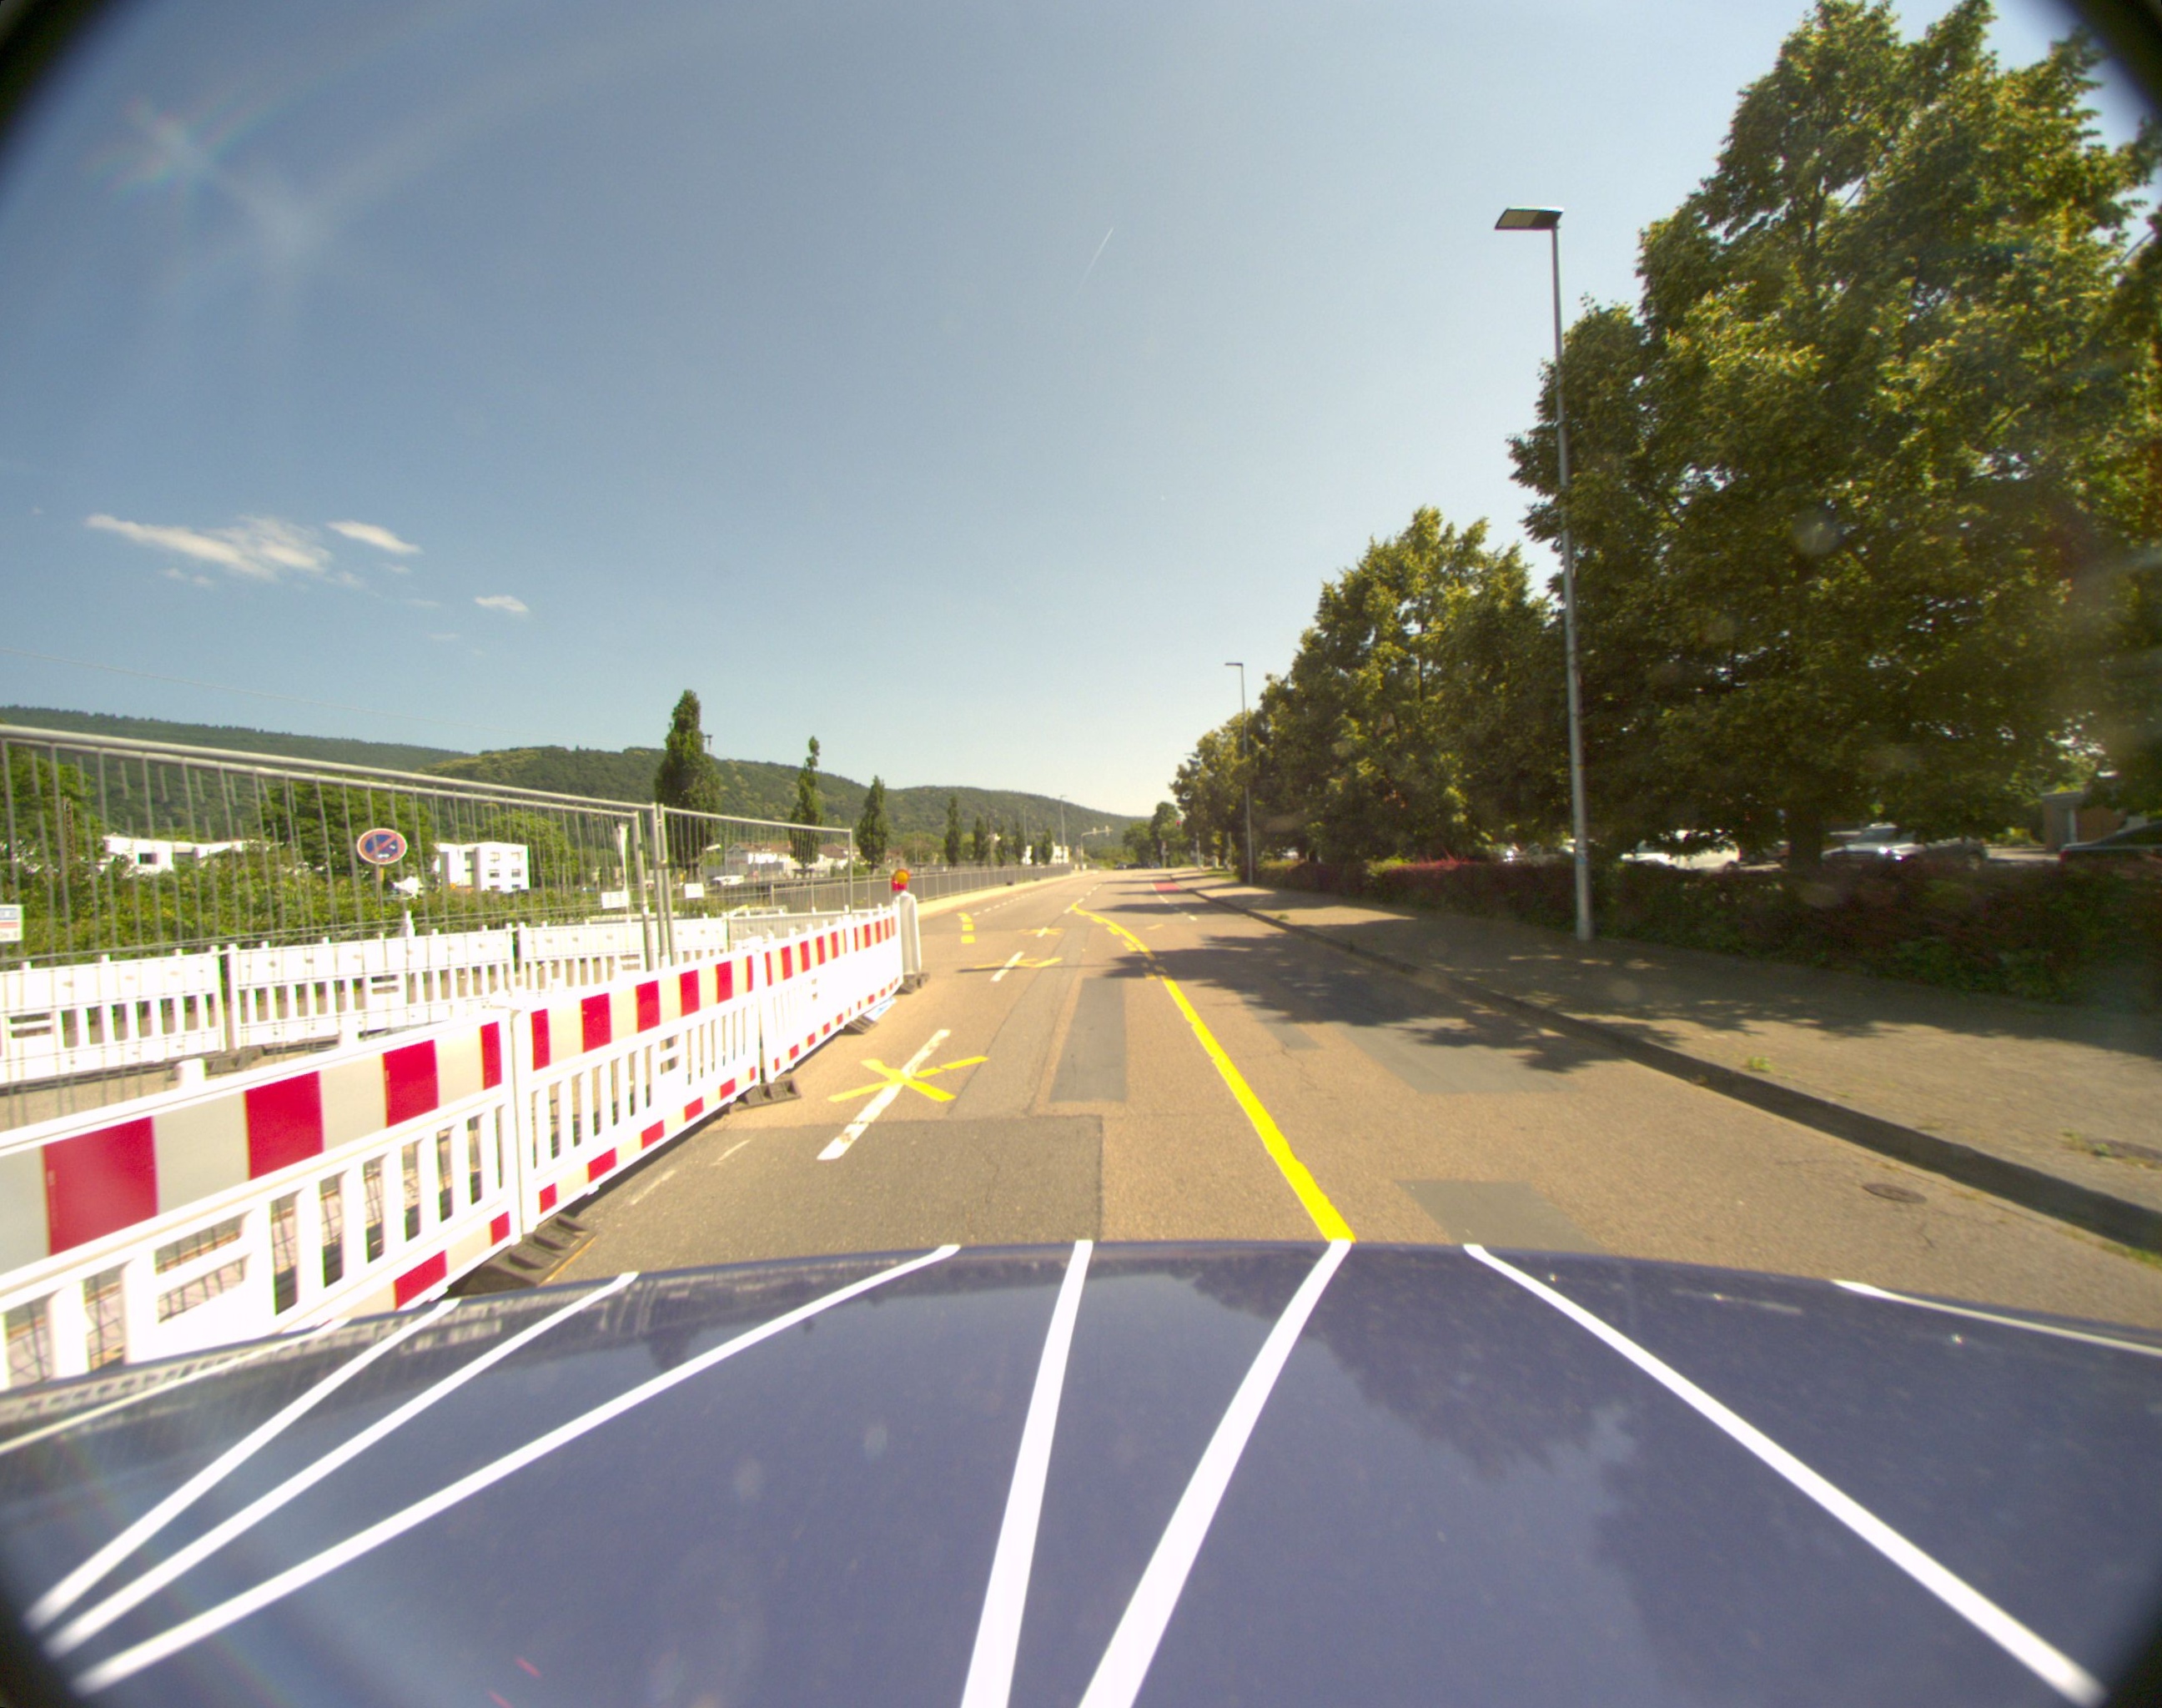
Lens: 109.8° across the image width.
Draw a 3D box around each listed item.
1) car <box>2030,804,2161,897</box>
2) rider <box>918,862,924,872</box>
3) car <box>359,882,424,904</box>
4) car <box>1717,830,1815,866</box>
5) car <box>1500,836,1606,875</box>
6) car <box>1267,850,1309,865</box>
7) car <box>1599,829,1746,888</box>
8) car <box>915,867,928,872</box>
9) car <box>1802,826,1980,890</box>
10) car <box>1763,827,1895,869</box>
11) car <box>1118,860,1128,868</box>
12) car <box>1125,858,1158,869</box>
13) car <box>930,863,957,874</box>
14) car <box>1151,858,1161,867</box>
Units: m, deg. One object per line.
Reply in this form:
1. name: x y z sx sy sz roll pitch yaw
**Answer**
1. car: 19.026 -0.093 11.922 2.072 1.551 5.031 -2 0 3
2. rider: -28.861 2.343 137.315 0.684 1.803 0.548 -2 3 31
3. car: -85.135 4.817 93.896 2.132 2.090 5.523 -7 0 14
4. car: 33.197 -0.290 36.835 3.613 1.523 1.620 -3 0 -10
5. car: 23.517 0.111 38.043 1.761 1.788 4.222 -3 0 -20
6. car: 25.648 0.445 94.214 4.569 1.643 1.834 -3 3 34
7. car: 20.582 0.146 26.465 4.356 1.816 1.747 -2 -1 -17
8. car: -28.826 2.786 137.320 2.377 0.897 0.576 -3 3 31
9. car: 23.454 0.116 22.049 3.812 1.574 1.903 -3 0 -15
10. car: 32.155 -0.222 32.822 1.669 1.622 3.721 -3 0 -11
11. car: 6.945 1.638 126.617 1.609 1.248 3.683 -2 0 2
12. car: 8.858 1.436 111.364 4.359 1.338 1.834 -3 3 31
13. car: -23.695 2.542 130.807 4.359 1.618 1.834 -3 3 31
14. car: 13.182 1.552 133.828 1.609 1.526 3.683 -2 0 2
